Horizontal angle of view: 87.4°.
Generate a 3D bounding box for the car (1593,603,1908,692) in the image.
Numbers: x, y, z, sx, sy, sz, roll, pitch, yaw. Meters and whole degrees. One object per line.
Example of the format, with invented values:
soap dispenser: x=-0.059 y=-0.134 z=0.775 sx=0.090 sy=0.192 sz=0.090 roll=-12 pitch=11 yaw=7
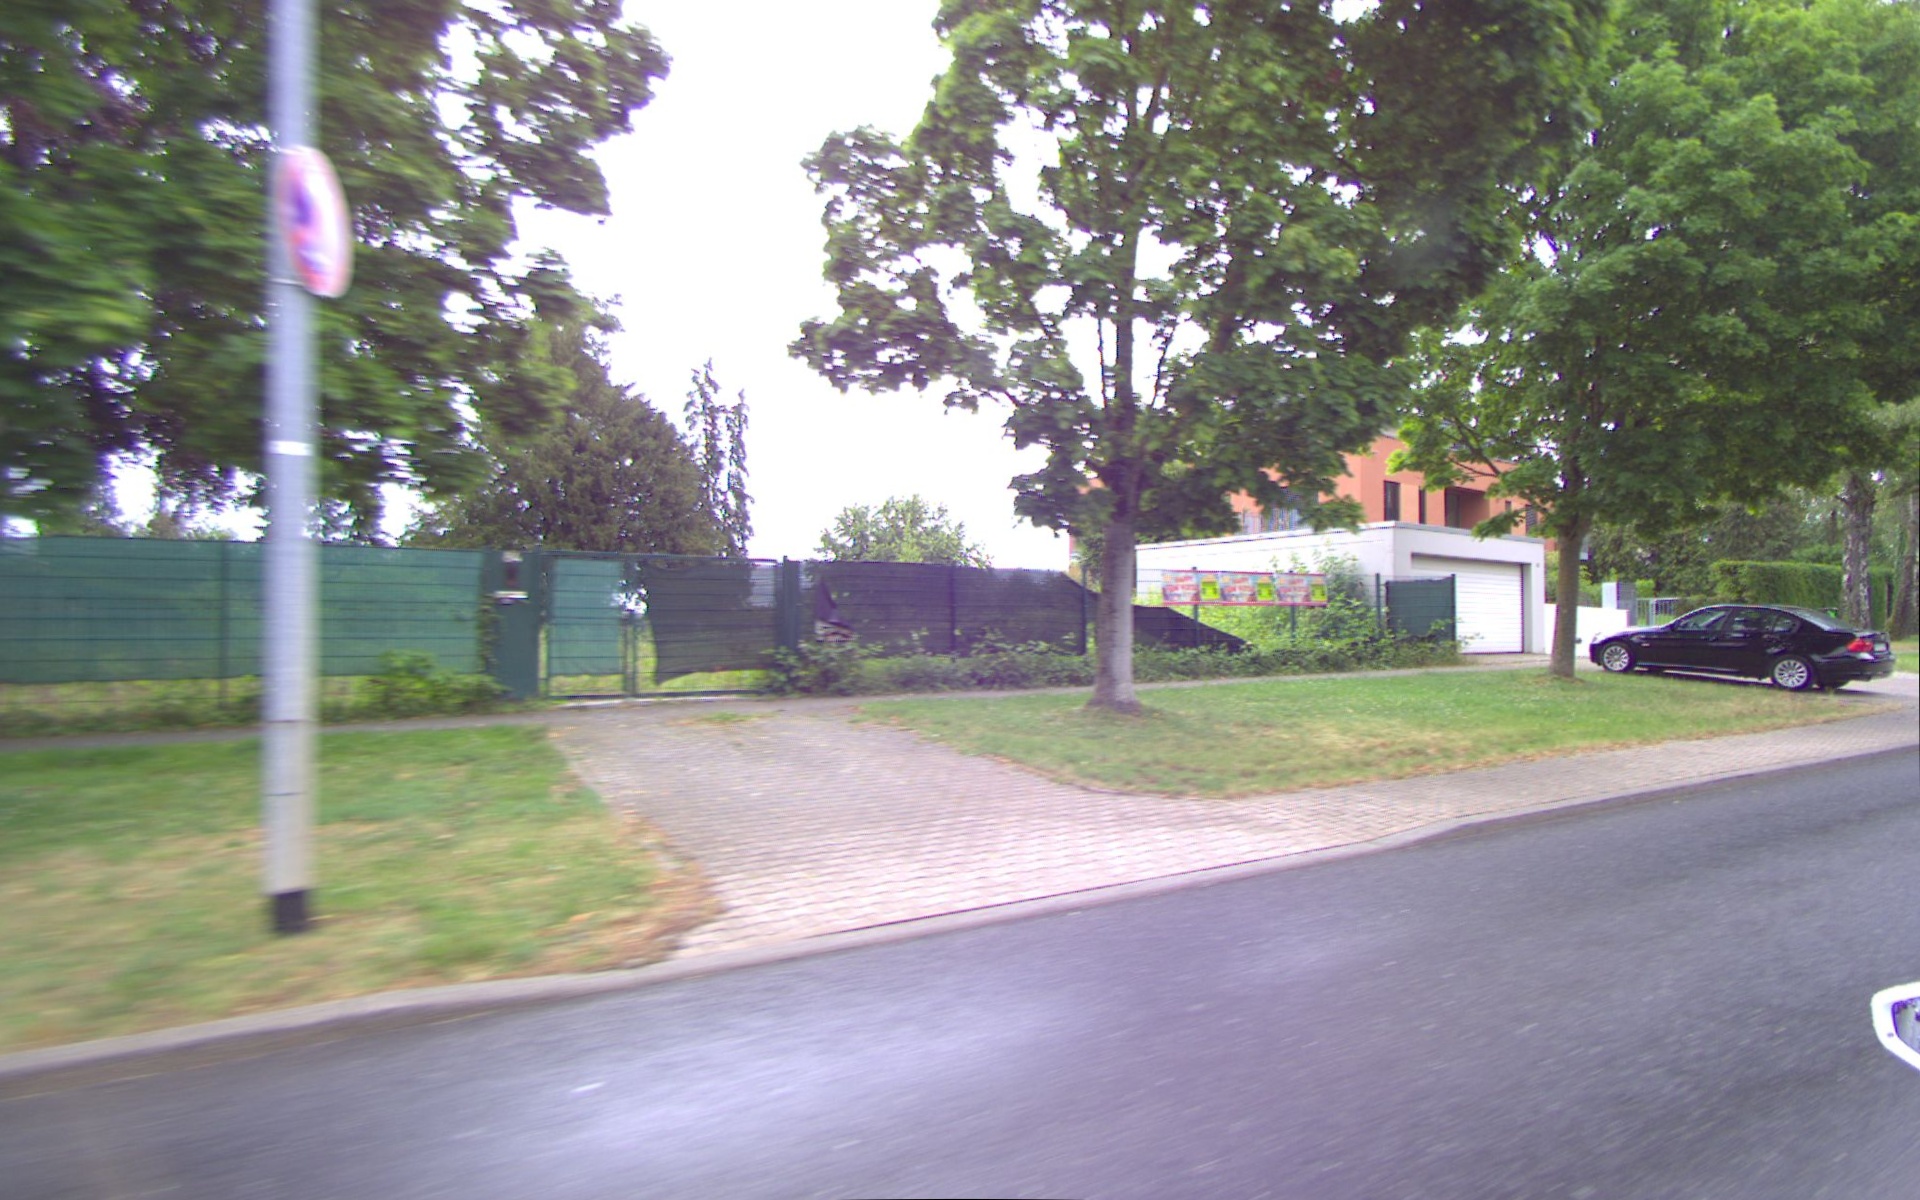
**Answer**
car: x=14.142 y=0.775 z=18.263 sx=1.667 sy=1.381 sz=4.204 roll=1 pitch=0 yaw=-26
